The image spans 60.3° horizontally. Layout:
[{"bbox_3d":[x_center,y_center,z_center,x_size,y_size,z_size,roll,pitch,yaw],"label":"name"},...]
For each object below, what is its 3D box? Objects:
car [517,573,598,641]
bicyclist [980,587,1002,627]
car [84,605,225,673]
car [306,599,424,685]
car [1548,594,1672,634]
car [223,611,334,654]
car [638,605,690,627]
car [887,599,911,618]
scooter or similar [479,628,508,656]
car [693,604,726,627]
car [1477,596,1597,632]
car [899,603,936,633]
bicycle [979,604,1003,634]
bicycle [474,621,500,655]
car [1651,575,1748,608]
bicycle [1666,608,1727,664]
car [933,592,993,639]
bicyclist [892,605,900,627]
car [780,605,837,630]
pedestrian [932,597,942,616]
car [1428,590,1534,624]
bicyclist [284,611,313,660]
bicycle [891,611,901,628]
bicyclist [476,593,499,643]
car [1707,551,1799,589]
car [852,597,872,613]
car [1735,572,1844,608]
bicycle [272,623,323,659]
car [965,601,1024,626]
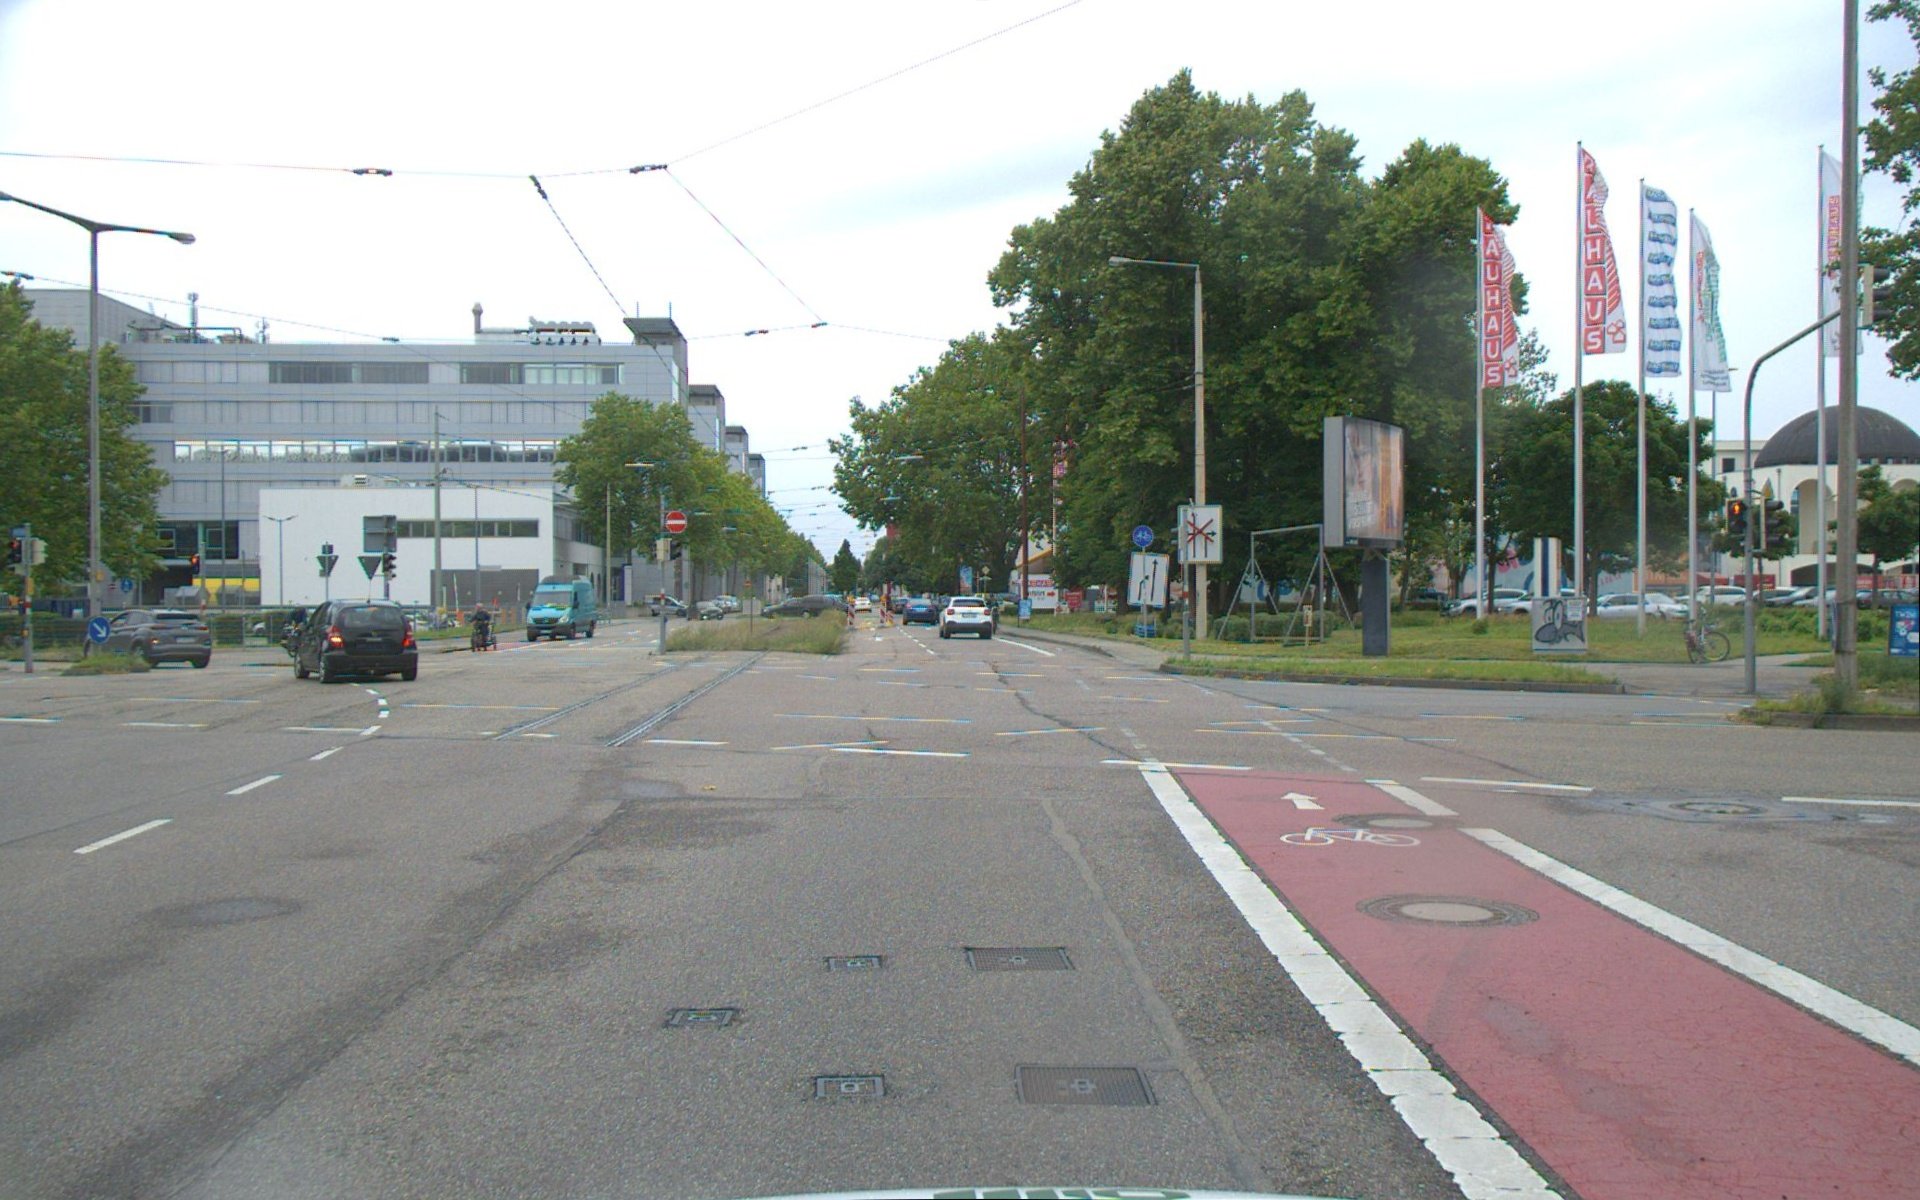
[{"bbox_3d":[-17.846,0.310,73.600,2.281,2.875,5.946,-1,0,-2],"label":"car"},{"bbox_3d":[1.320,0.293,70.924,0.800,1.659,1.234,-1,0,-4],"label":"bicyclist"},{"bbox_3d":[-21.479,1.000,44.089,3.591,1.681,1.774,1,0,32],"label":"car"},{"bbox_3d":[-11.785,0.781,32.651,1.747,1.554,3.637,1,0,-27],"label":"car"},{"bbox_3d":[26.520,0.577,67.565,4.361,1.523,1.927,1,-1,-9],"label":"car"},{"bbox_3d":[-25.871,1.228,62.820,3.579,1.554,1.776,-1,0,15],"label":"car"},{"bbox_3d":[-25.941,1.383,144.944,4.327,1.814,1.823,-1,0,-6],"label":"car"},{"bbox_3d":[-5.355,0.732,144.210,1.840,1.661,3.996,-1,0,-5],"label":"car"},{"bbox_3d":[-16.429,1.486,58.270,0.828,0.923,1.195,1,0,-10],"label":"scooter or similar"},{"bbox_3d":[-17.578,1.117,116.165,1.783,1.501,4.128,-2,-2,-2],"label":"car"},{"bbox_3d":[25.788,0.633,74.041,4.584,1.523,2.168,1,-1,-6],"label":"car"},{"bbox_3d":[-2.312,0.974,89.665,1.652,1.540,3.700,1,0,-7],"label":"car"},{"bbox_3d":[1.330,0.795,70.923,0.800,1.234,2.681,-1,0,-4],"label":"bicycle"},{"bbox_3d":[-16.181,1.283,56.587,0.633,1.081,2.019,1,0,-10],"label":"bicycle"},{"bbox_3d":[40.771,-0.475,91.211,4.469,1.706,2.151,-1,0,-9],"label":"car"},{"bbox_3d":[15.521,0.745,34.841,1.792,1.137,0.481,-1,0,-42],"label":"bicycle"},{"bbox_3d":[0.086,0.548,61.038,1.789,1.628,3.770,1,0,-7],"label":"car"},{"bbox_3d":[-5.579,1.385,144.382,0.658,1.847,0.759,1,0,-7],"label":"bicyclist"},{"bbox_3d":[-10.447,1.214,114.187,3.807,1.583,1.824,1,-1,-5],"label":"car"},{"bbox_3d":[-2.081,0.562,150.909,0.746,1.734,0.680,-1,0,-9],"label":"pedestrian"},{"bbox_3d":[25.116,0.359,79.810,4.446,1.523,1.956,1,-1,-8],"label":"car"},{"bbox_3d":[-21.091,1.135,52.752,0.632,1.545,0.627,1,0,5],"label":"bicyclist"},{"bbox_3d":[-5.577,1.663,144.258,0.658,1.418,2.164,1,0,-7],"label":"bicycle"},{"bbox_3d":[-16.167,0.611,56.597,0.633,1.713,0.684,1,0,-10],"label":"bicyclist"},{"bbox_3d":[56.955,-2.129,118.845,5.629,2.581,2.072,-1,0,-4],"label":"car"},{"bbox_3d":[-9.563,0.492,161.177,1.761,1.540,3.700,1,0,-7],"label":"car"},{"bbox_3d":[41.540,-0.508,82.900,4.469,1.706,2.151,-1,0,-9],"label":"car"},{"bbox_3d":[-21.104,1.296,52.718,0.632,1.081,2.002,1,0,6],"label":"bicycle"},{"bbox_3d":[2.546,0.987,122.287,4.228,1.706,1.991,-1,0,-4],"label":"car"}]
